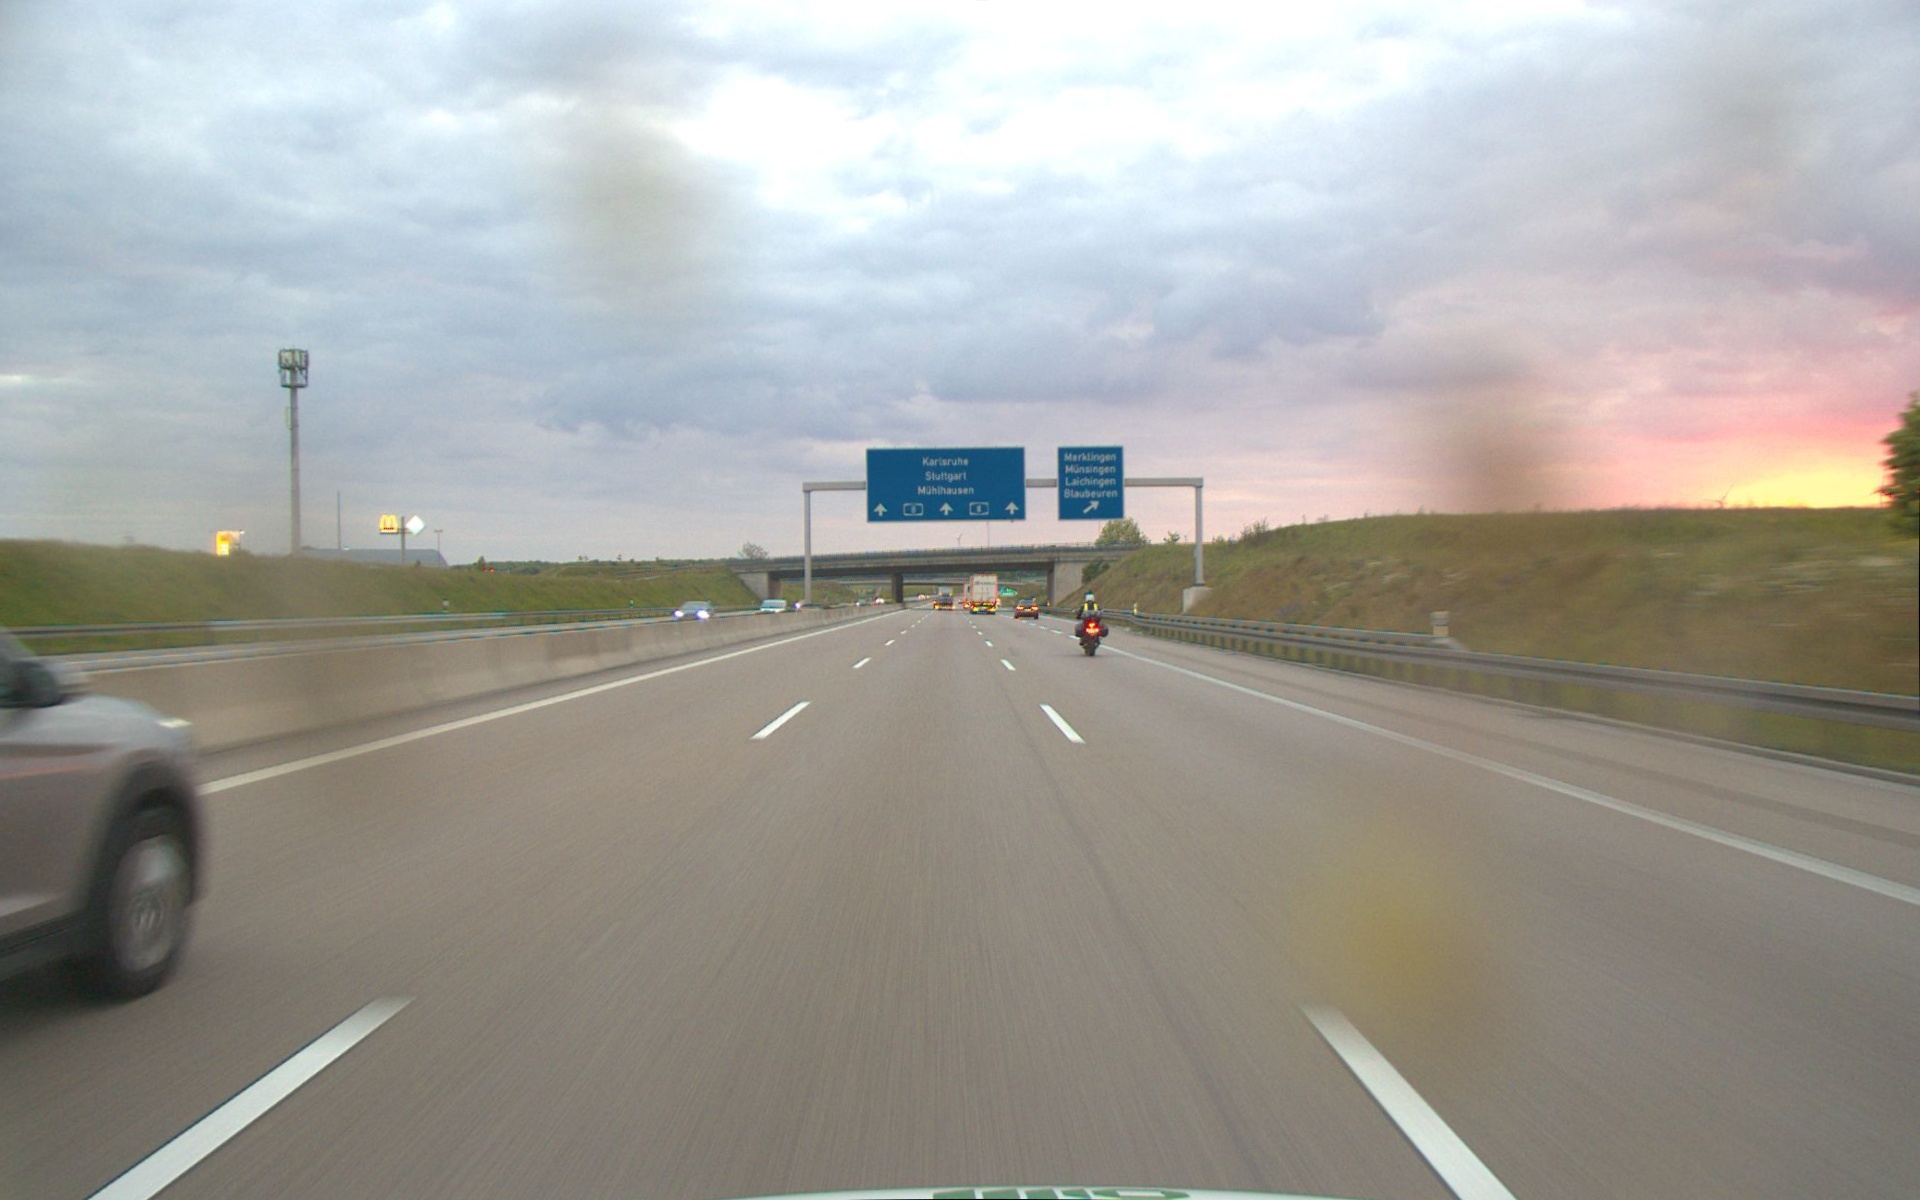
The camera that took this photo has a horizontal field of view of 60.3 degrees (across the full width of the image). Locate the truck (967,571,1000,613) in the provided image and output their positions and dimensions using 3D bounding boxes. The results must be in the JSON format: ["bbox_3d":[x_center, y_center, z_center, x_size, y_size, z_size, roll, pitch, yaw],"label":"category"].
[{"bbox_3d":[2.414,-0.869,173.475,3.167,4.301,9.598,1,1,0],"label":"truck"}]

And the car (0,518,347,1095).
[{"bbox_3d":[-3.773,0.613,5.002,1.814,1.722,5.511,0,0,0],"label":"car"}]

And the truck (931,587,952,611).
[{"bbox_3d":[-2.610,-0.153,236.316,2.892,3.273,8.404,1,1,-1],"label":"truck"}]

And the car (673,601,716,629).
[{"bbox_3d":[-15.946,0.905,99.450,1.962,1.615,4.571,0,0,-2],"label":"car"}]

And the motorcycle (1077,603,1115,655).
[{"bbox_3d":[3.776,0.796,46.036,0.883,1.370,2.349,0,1,0],"label":"motorcycle"}]

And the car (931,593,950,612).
[{"bbox_3d":[-2.596,0.321,220.162,2.465,2.433,6.494,0,0,-1],"label":"car"}]

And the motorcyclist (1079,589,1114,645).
[{"bbox_3d":[3.774,0.456,45.873,0.848,1.513,1.168,1,0,-1],"label":"motorcyclist"}]

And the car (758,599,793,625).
[{"bbox_3d":[-12.175,0.768,109.358,1.713,1.625,4.643,1,0,0],"label":"car"}]

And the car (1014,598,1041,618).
[{"bbox_3d":[5.403,0.638,132.740,1.879,1.607,3.999,0,0,-1],"label":"car"}]

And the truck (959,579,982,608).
[{"bbox_3d":[1.613,-1.047,261.536,3.454,4.421,8.404,1,0,-1],"label":"truck"}]

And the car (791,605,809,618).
[{"bbox_3d":[-21.333,1.570,221.029,1.953,1.630,5.198,1,-1,-2],"label":"car"}]
